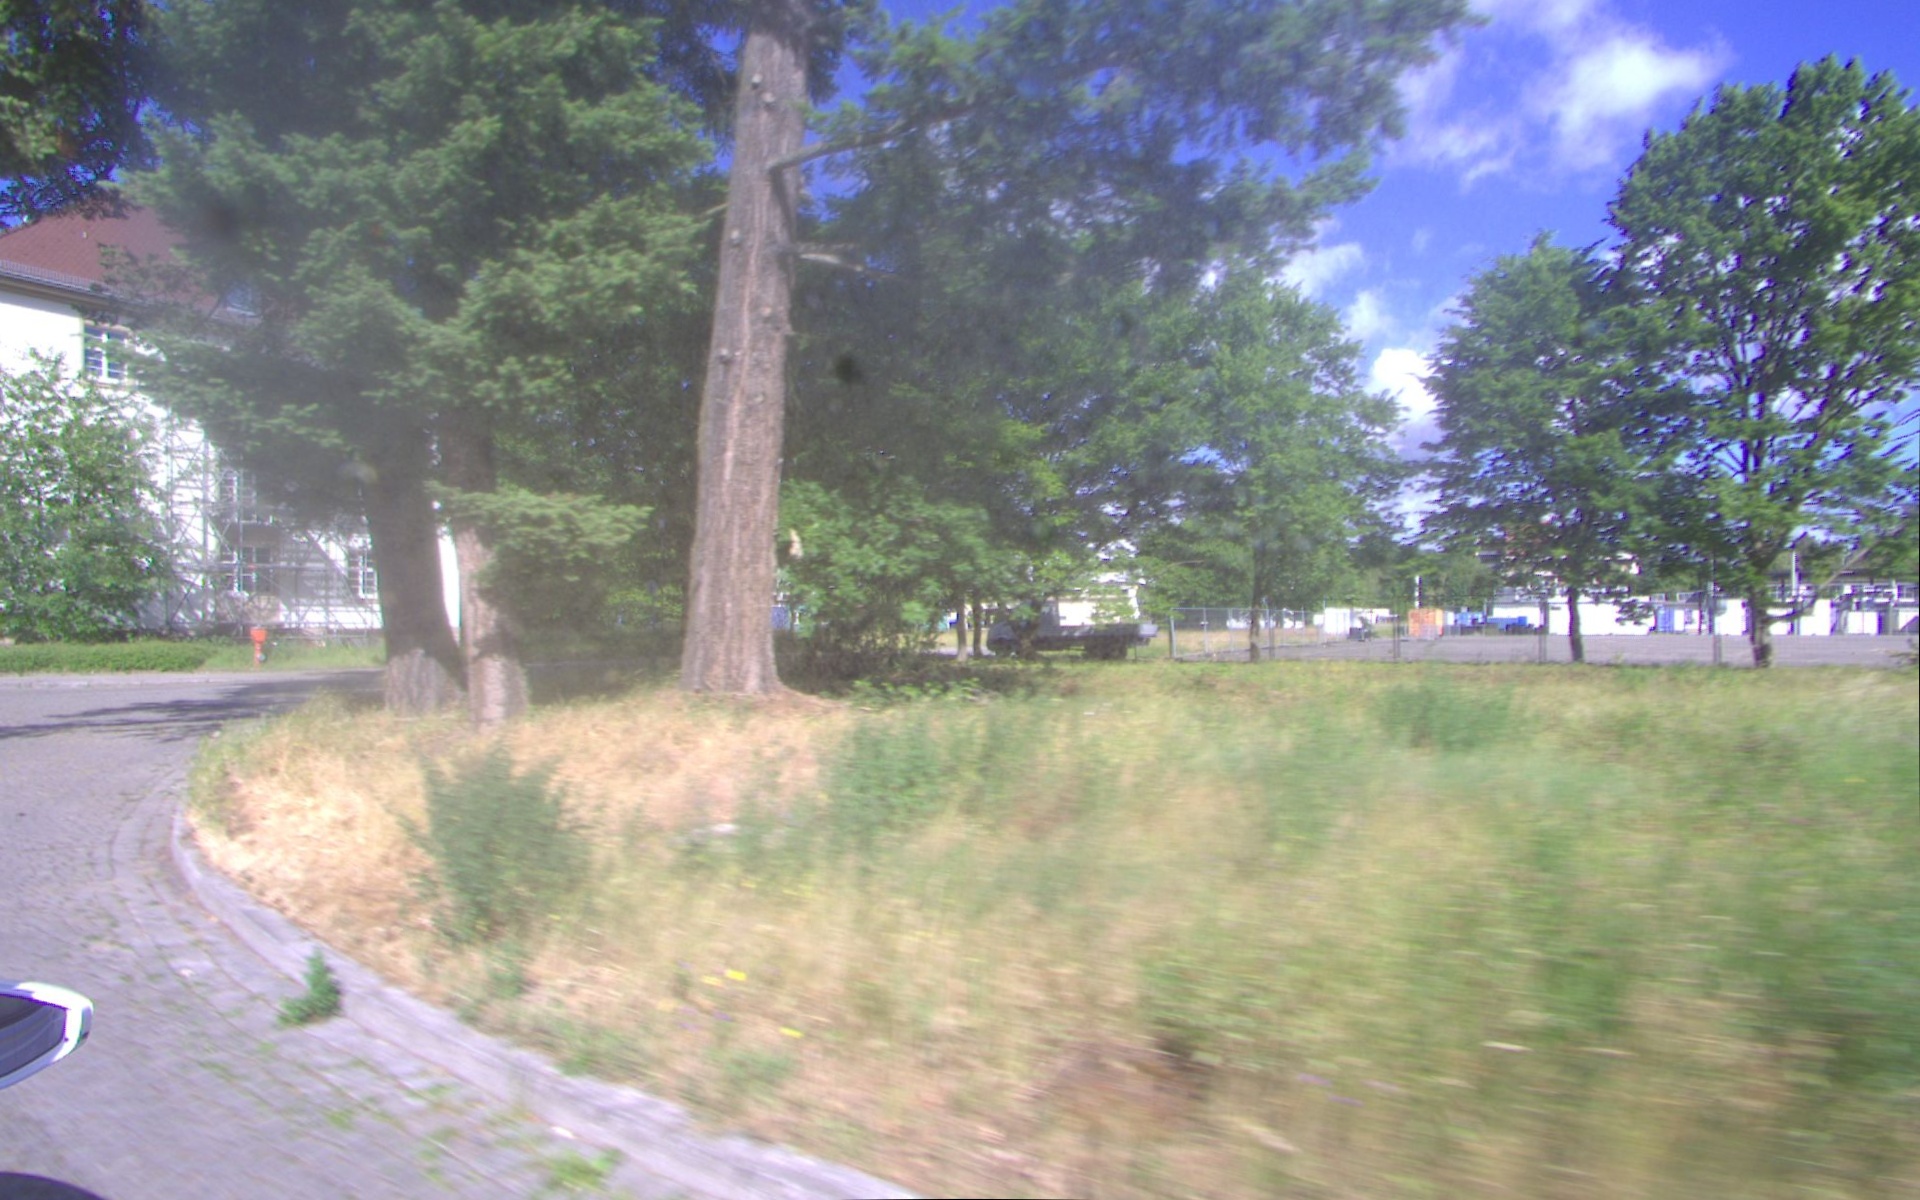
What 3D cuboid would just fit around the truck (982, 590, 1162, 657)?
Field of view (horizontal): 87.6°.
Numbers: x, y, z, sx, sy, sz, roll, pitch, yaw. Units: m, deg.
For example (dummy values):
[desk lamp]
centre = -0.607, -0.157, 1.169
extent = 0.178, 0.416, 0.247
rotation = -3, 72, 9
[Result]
[truck]
centre = 4.340, 0.925, 39.573
extent = 6.786, 2.454, 2.230
rotation = 0, -2, 32
